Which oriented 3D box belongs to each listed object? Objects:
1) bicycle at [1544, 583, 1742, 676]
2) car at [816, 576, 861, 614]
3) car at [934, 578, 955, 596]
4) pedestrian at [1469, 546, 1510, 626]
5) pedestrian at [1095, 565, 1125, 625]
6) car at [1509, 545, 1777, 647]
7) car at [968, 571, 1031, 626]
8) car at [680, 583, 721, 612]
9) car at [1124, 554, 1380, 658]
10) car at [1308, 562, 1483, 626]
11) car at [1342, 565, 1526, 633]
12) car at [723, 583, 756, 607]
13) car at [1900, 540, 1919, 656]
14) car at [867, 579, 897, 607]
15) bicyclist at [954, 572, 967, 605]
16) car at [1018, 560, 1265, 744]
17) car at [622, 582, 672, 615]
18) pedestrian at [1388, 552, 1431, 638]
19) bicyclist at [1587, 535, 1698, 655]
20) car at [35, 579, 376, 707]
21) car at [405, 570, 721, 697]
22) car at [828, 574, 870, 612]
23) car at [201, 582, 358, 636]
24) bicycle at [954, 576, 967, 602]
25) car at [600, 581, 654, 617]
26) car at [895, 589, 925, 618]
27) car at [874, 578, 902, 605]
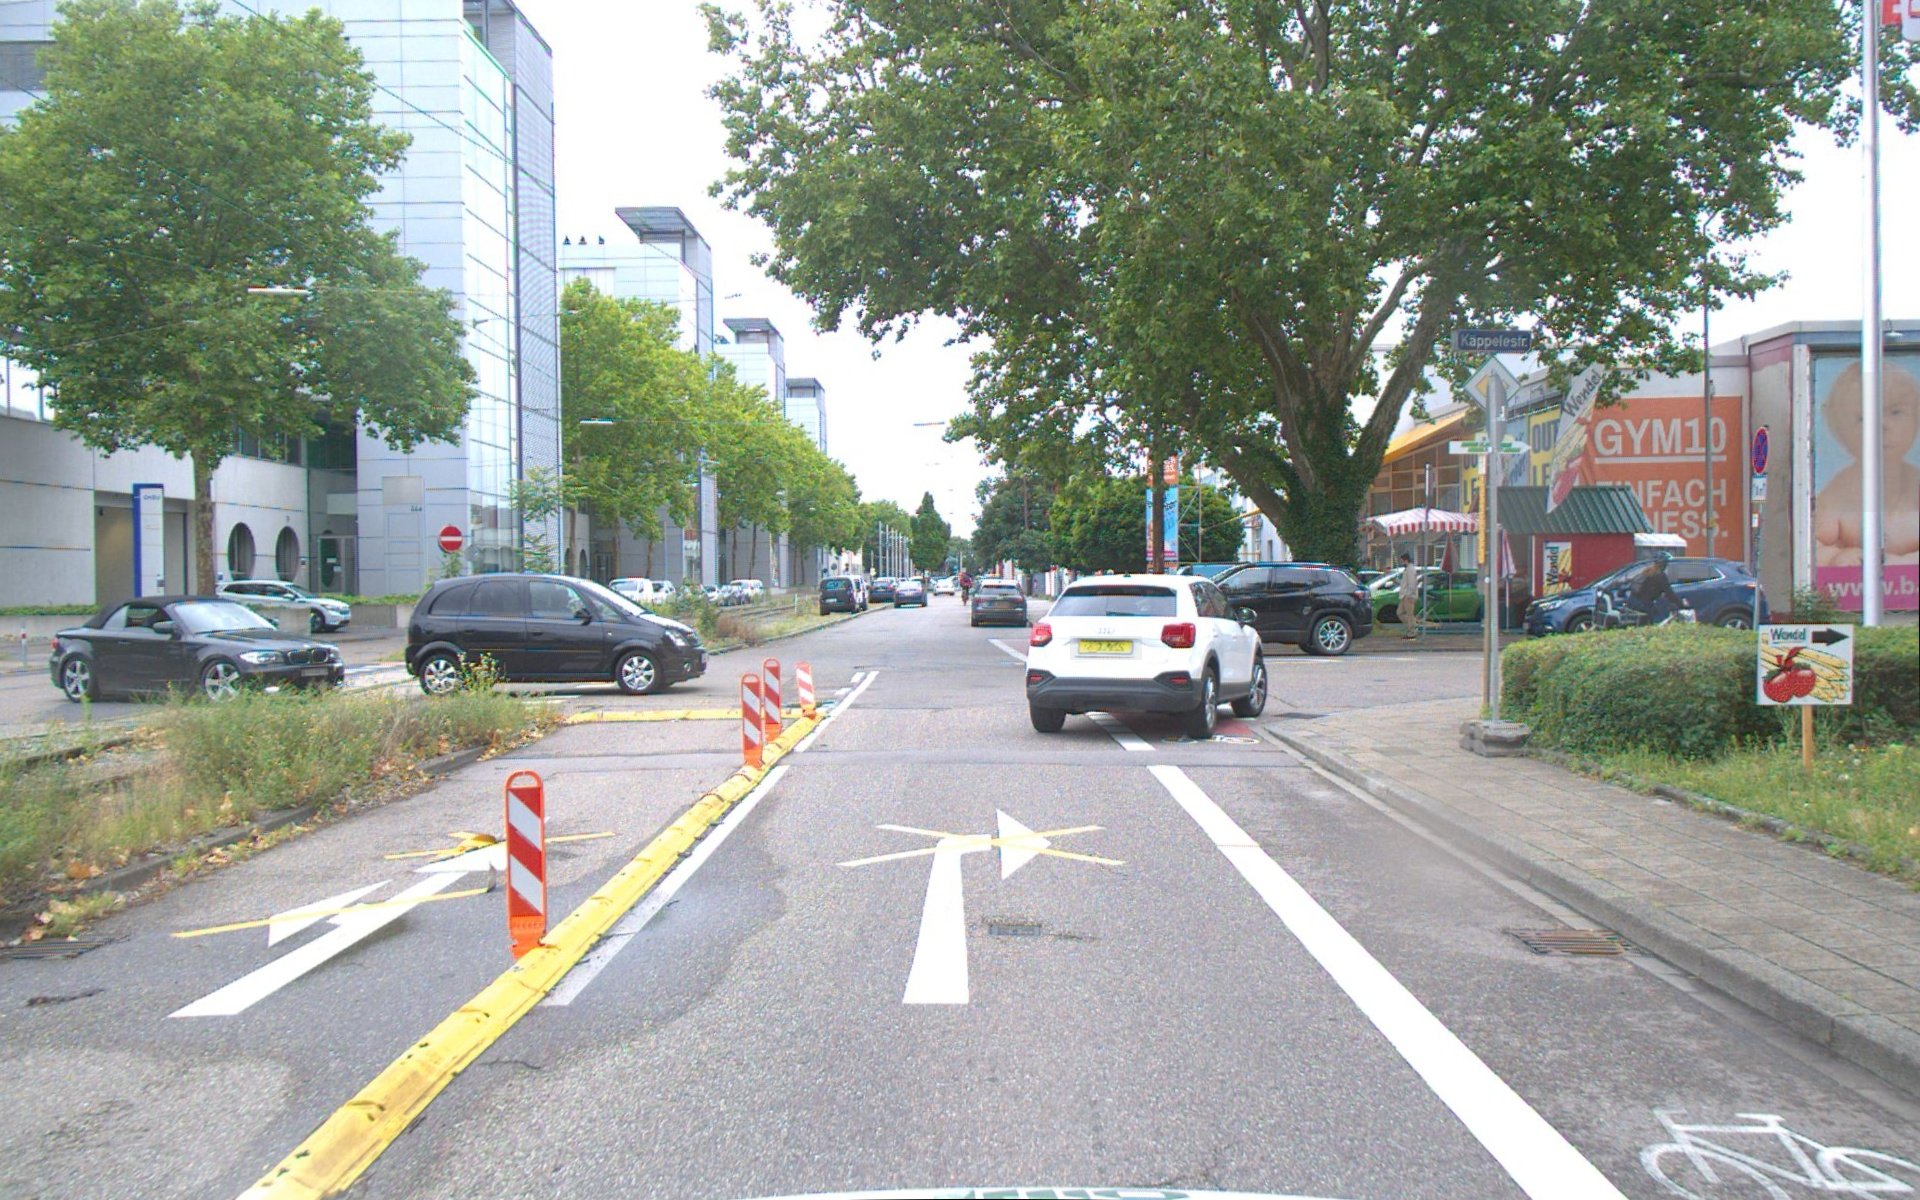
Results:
[{"bbox_3d":[9.775,0.399,23.677,2.629,1.234,0.816,-1,0,-14],"label":"bicycle"},{"bbox_3d":[-5.636,-0.259,77.185,1.839,1.661,4.000,-1,1,-1],"label":"car"},{"bbox_3d":[-1.419,-1.214,150.777,1.759,1.540,3.704,0,1,-2],"label":"car"},{"bbox_3d":[11.696,-0.319,36.551,0.665,1.734,0.598,-1,0,-2],"label":"pedestrian"},{"bbox_3d":[4.418,-0.144,48.636,0.745,1.734,0.681,-1,0,-5],"label":"pedestrian"},{"bbox_3d":[12.343,-0.072,30.151,4.123,1.706,1.994,-1,0,8],"label":"car"},{"bbox_3d":[1.236,-0.062,53.328,1.839,1.661,4.000,-1,1,-1],"label":"car"},{"bbox_3d":[-15.842,-0.155,101.099,1.839,1.661,4.205,-1,1,-1],"label":"car"},{"bbox_3d":[5.145,0.090,29.602,4.225,1.706,1.993,-1,0,1],"label":"car"},{"bbox_3d":[11.536,-0.159,43.952,4.128,1.579,1.789,-1,0,-2],"label":"car"},{"bbox_3d":[11.938,-0.038,41.806,4.128,1.579,1.789,-1,0,-2],"label":"car"},{"bbox_3d":[-16.139,-0.387,121.267,1.839,1.661,4.205,-1,1,-1],"label":"car"},{"bbox_3d":[15.433,-0.078,22.229,4.459,1.599,1.993,-1,0,0],"label":"car"},{"bbox_3d":[-5.266,-0.485,111.406,1.839,1.794,4.000,-1,1,-1],"label":"car"},{"bbox_3d":[0.024,-0.645,92.386,0.657,1.847,0.759,0,1,-3],"label":"bicyclist"},{"bbox_3d":[1.961,0.427,16.840,1.785,1.628,3.778,1,1,18],"label":"car"},{"bbox_3d":[-16.540,-0.112,87.642,1.839,1.661,4.205,-1,1,-1],"label":"car"},{"bbox_3d":[9.214,-0.114,33.930,0.665,1.734,0.598,-1,0,-2],"label":"pedestrian"},{"bbox_3d":[9.762,-0.074,23.672,1.210,1.658,0.816,-1,0,-13],"label":"bicyclist"},{"bbox_3d":[-9.930,0.573,21.765,4.033,1.501,1.825,-2,-1,23],"label":"car"},{"bbox_3d":[-5.296,0.431,22.410,3.803,1.583,1.825,1,0,0],"label":"car"},{"bbox_3d":[-5.529,-0.357,83.001,1.839,1.794,4.000,-1,1,-1],"label":"car"},{"bbox_3d":[-22.527,0.298,54.878,4.421,1.699,1.824,1,0,-3],"label":"car"},{"bbox_3d":[0.032,-0.645,92.235,0.657,1.418,2.166,0,1,-2],"label":"bicycle"},{"bbox_3d":[-16.507,-0.069,82.241,1.839,1.661,4.205,-1,1,-1],"label":"car"},{"bbox_3d":[-2.812,0.173,93.023,1.650,1.540,3.704,0,1,-2],"label":"car"},{"bbox_3d":[-5.049,-0.594,116.618,1.839,1.794,4.000,-1,1,-1],"label":"car"}]
